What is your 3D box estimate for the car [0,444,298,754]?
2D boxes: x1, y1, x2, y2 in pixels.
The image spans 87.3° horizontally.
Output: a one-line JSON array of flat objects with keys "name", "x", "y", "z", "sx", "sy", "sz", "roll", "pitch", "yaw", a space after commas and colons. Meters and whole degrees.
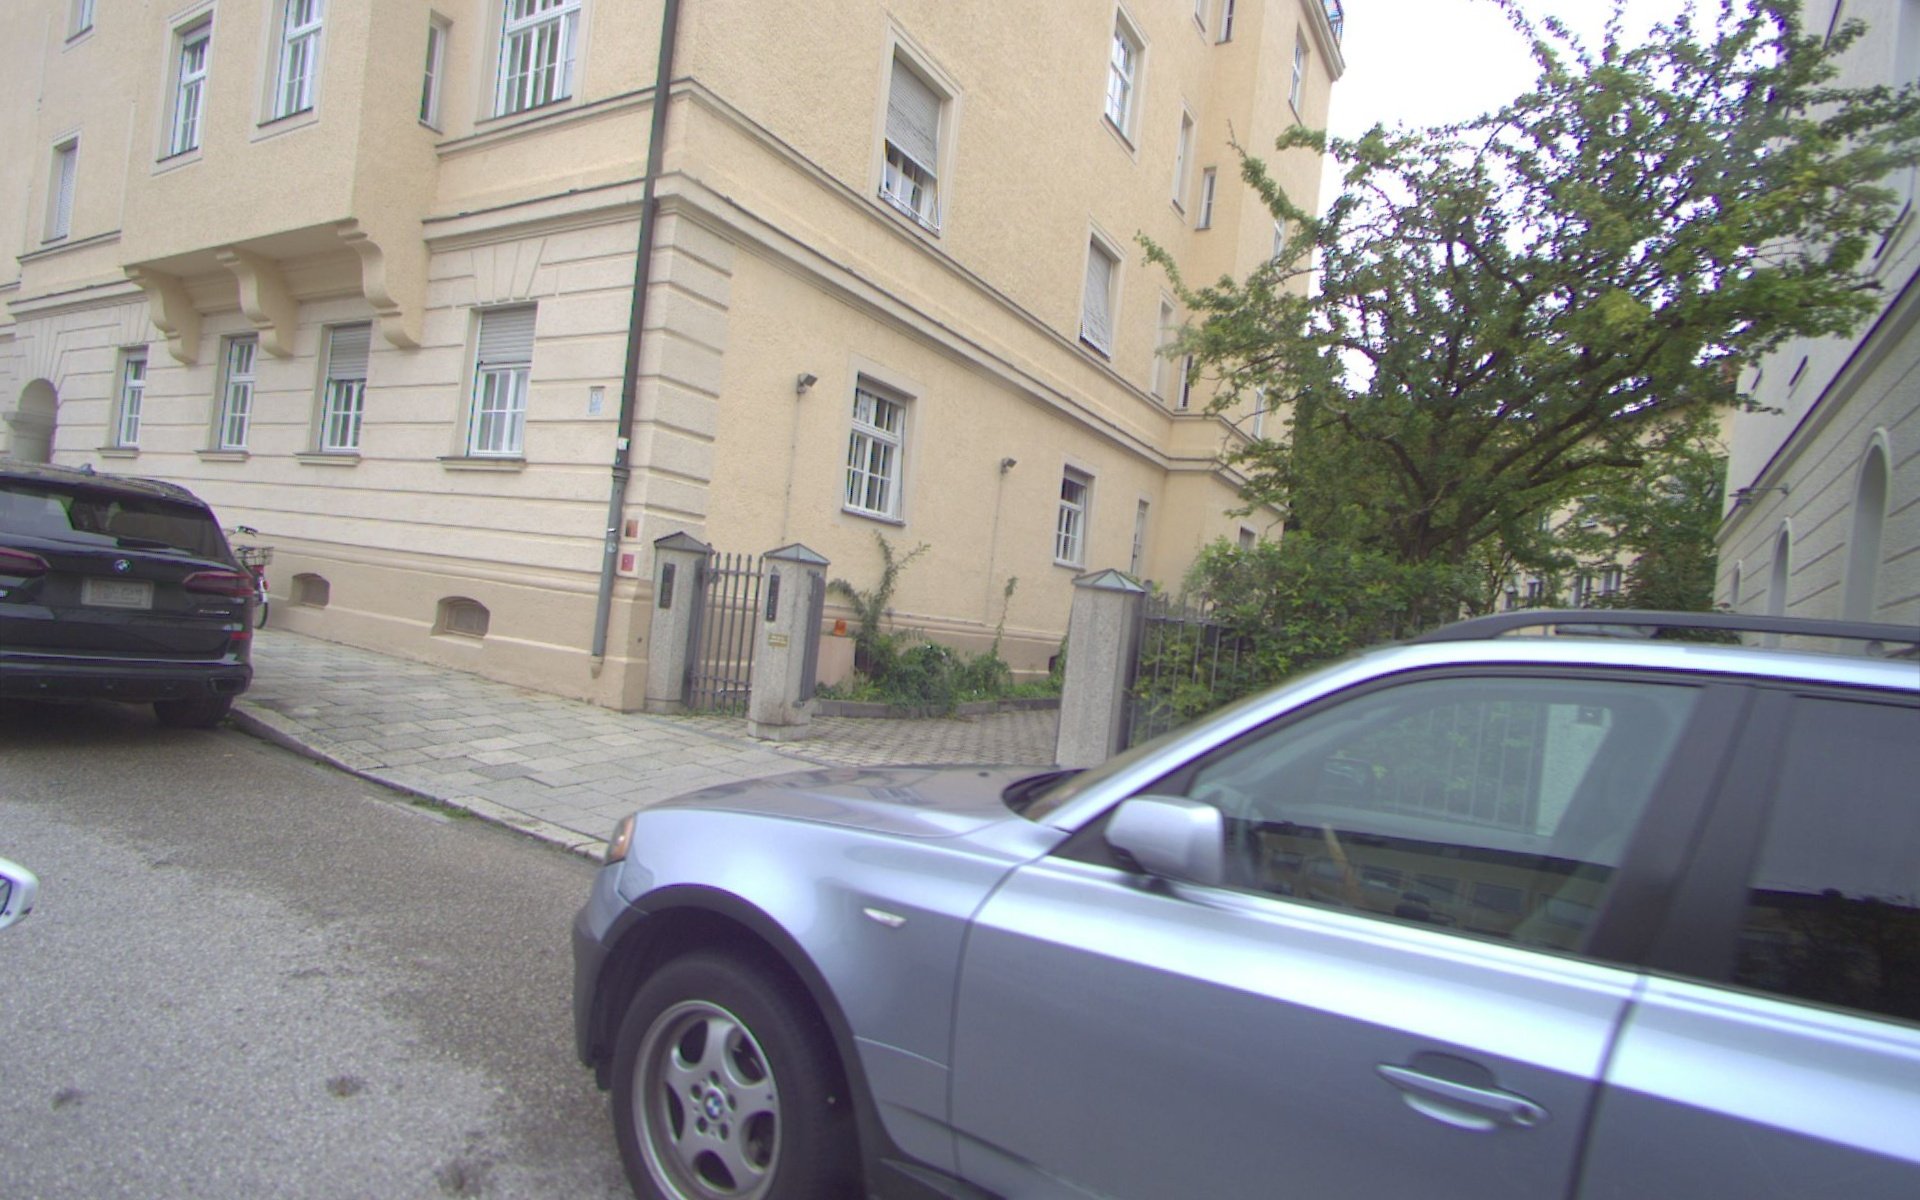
[{"name": "car", "x": -7.133, "y": -0.159, "z": 7.373, "sx": 4.785, "sy": 1.737, "sz": 1.872, "roll": 6, "pitch": -2, "yaw": 32}]

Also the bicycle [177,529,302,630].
[{"name": "bicycle", "x": -9.247, "y": -0.269, "z": 12.886, "sx": 1.921, "sy": 1.097, "sz": 0.579, "roll": 7, "pitch": 3, "yaw": 32}]

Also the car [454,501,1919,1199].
[{"name": "car", "x": 1.026, "y": 0.829, "z": 2.287, "sx": 4.383, "sy": 1.654, "sz": 1.725, "roll": 6, "pitch": -1, "yaw": 32}]

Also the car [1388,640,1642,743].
[{"name": "car", "x": 11.256, "y": 1.843, "z": 20.544, "sx": 4.168, "sy": 1.534, "sz": 1.780, "roll": 6, "pitch": 1, "yaw": -7}]
